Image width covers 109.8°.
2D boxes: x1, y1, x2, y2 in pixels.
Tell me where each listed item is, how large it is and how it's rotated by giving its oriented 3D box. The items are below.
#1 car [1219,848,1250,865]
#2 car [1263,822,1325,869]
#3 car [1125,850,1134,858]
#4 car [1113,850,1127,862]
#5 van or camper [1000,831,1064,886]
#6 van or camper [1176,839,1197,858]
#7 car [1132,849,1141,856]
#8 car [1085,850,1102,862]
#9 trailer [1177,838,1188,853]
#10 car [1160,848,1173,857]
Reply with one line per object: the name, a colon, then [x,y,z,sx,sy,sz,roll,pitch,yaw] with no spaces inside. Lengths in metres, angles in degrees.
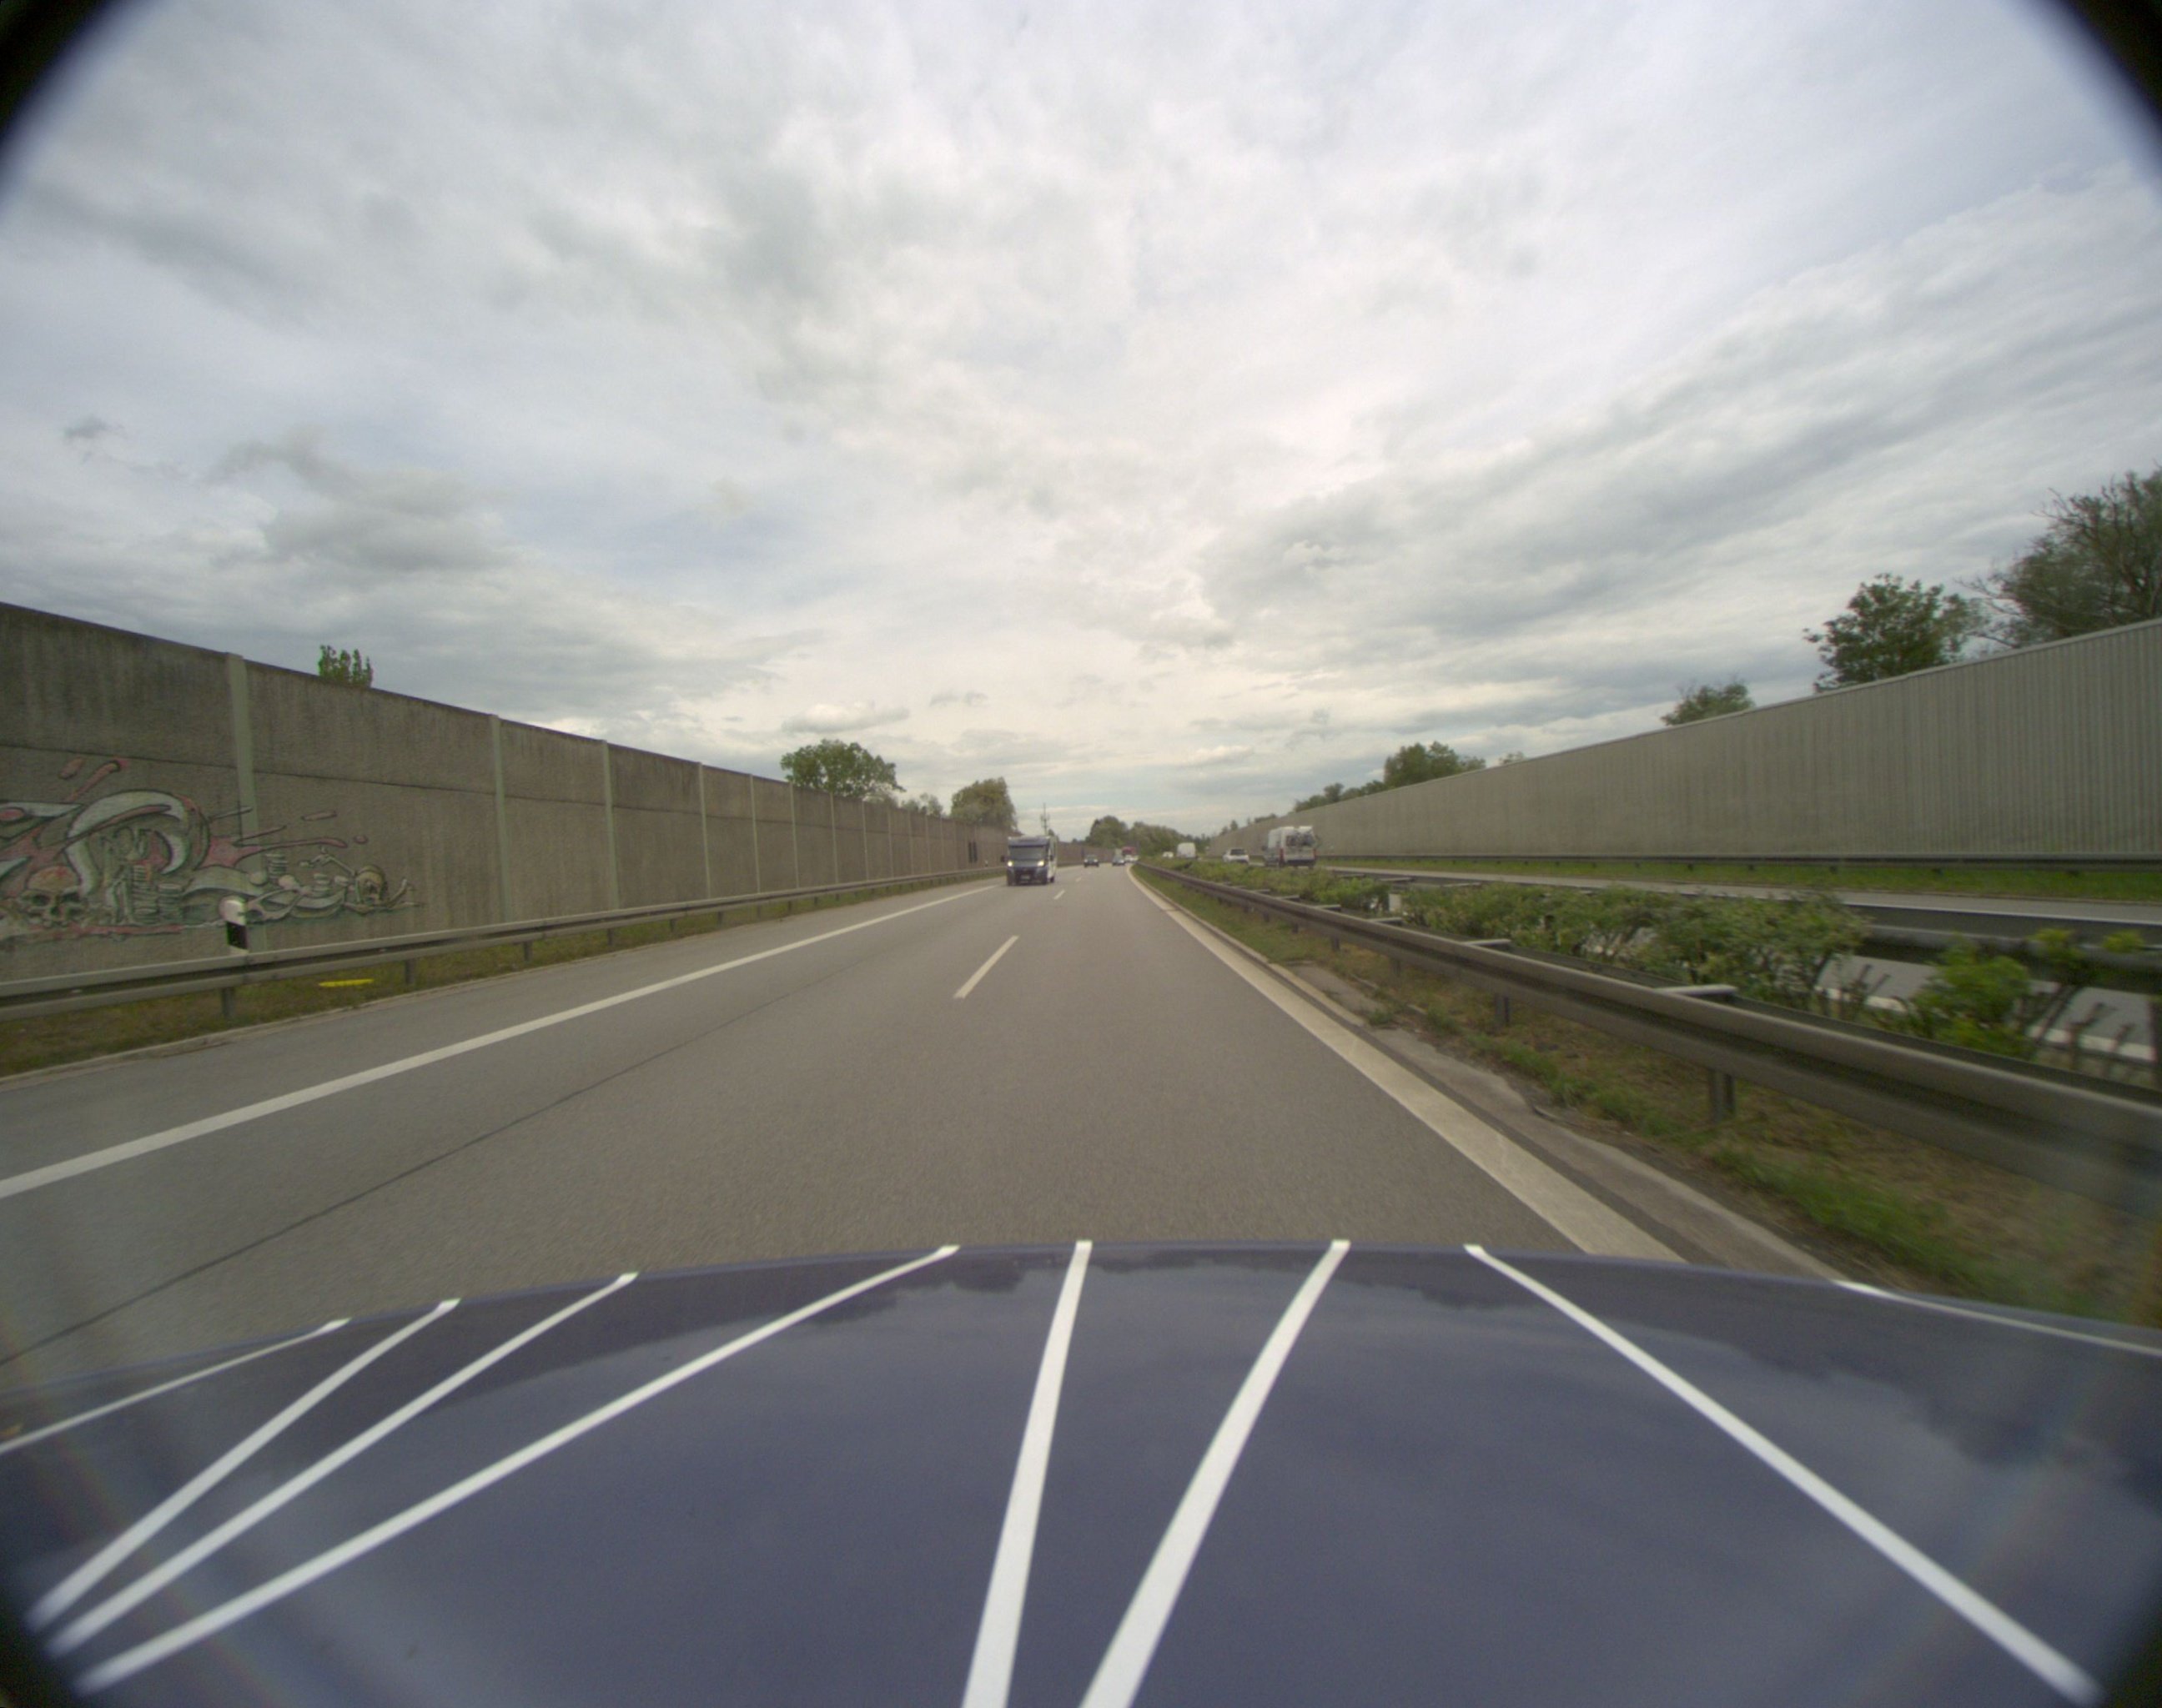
car: [13.166,0.229,65.210,1.869,1.395,4.500,-1,0,2]
car: [12.149,-0.462,43.798,2.116,2.441,5.684,-1,0,2]
car: [9.855,0.016,154.154,1.889,1.608,4.001,-1,0,4]
car: [5.621,0.288,109.101,1.889,1.608,4.001,-1,0,5]
van or camper: [-2.532,0.228,41.675,2.434,2.681,7.227,-2,0,4]
van or camper: [13.986,-0.693,100.791,1.998,2.427,6.309,-1,0,1]
car: [13.507,-0.331,184.937,1.888,1.608,4.002,-1,0,7]
car: [1.727,0.262,102.171,1.888,1.608,4.002,-1,0,6]
trailer: [29.377,-2.427,219.029,2.987,4.215,14.188,-1,0,8]
car: [14.629,-0.281,130.275,1.809,1.406,4.969,-2,0,4]
